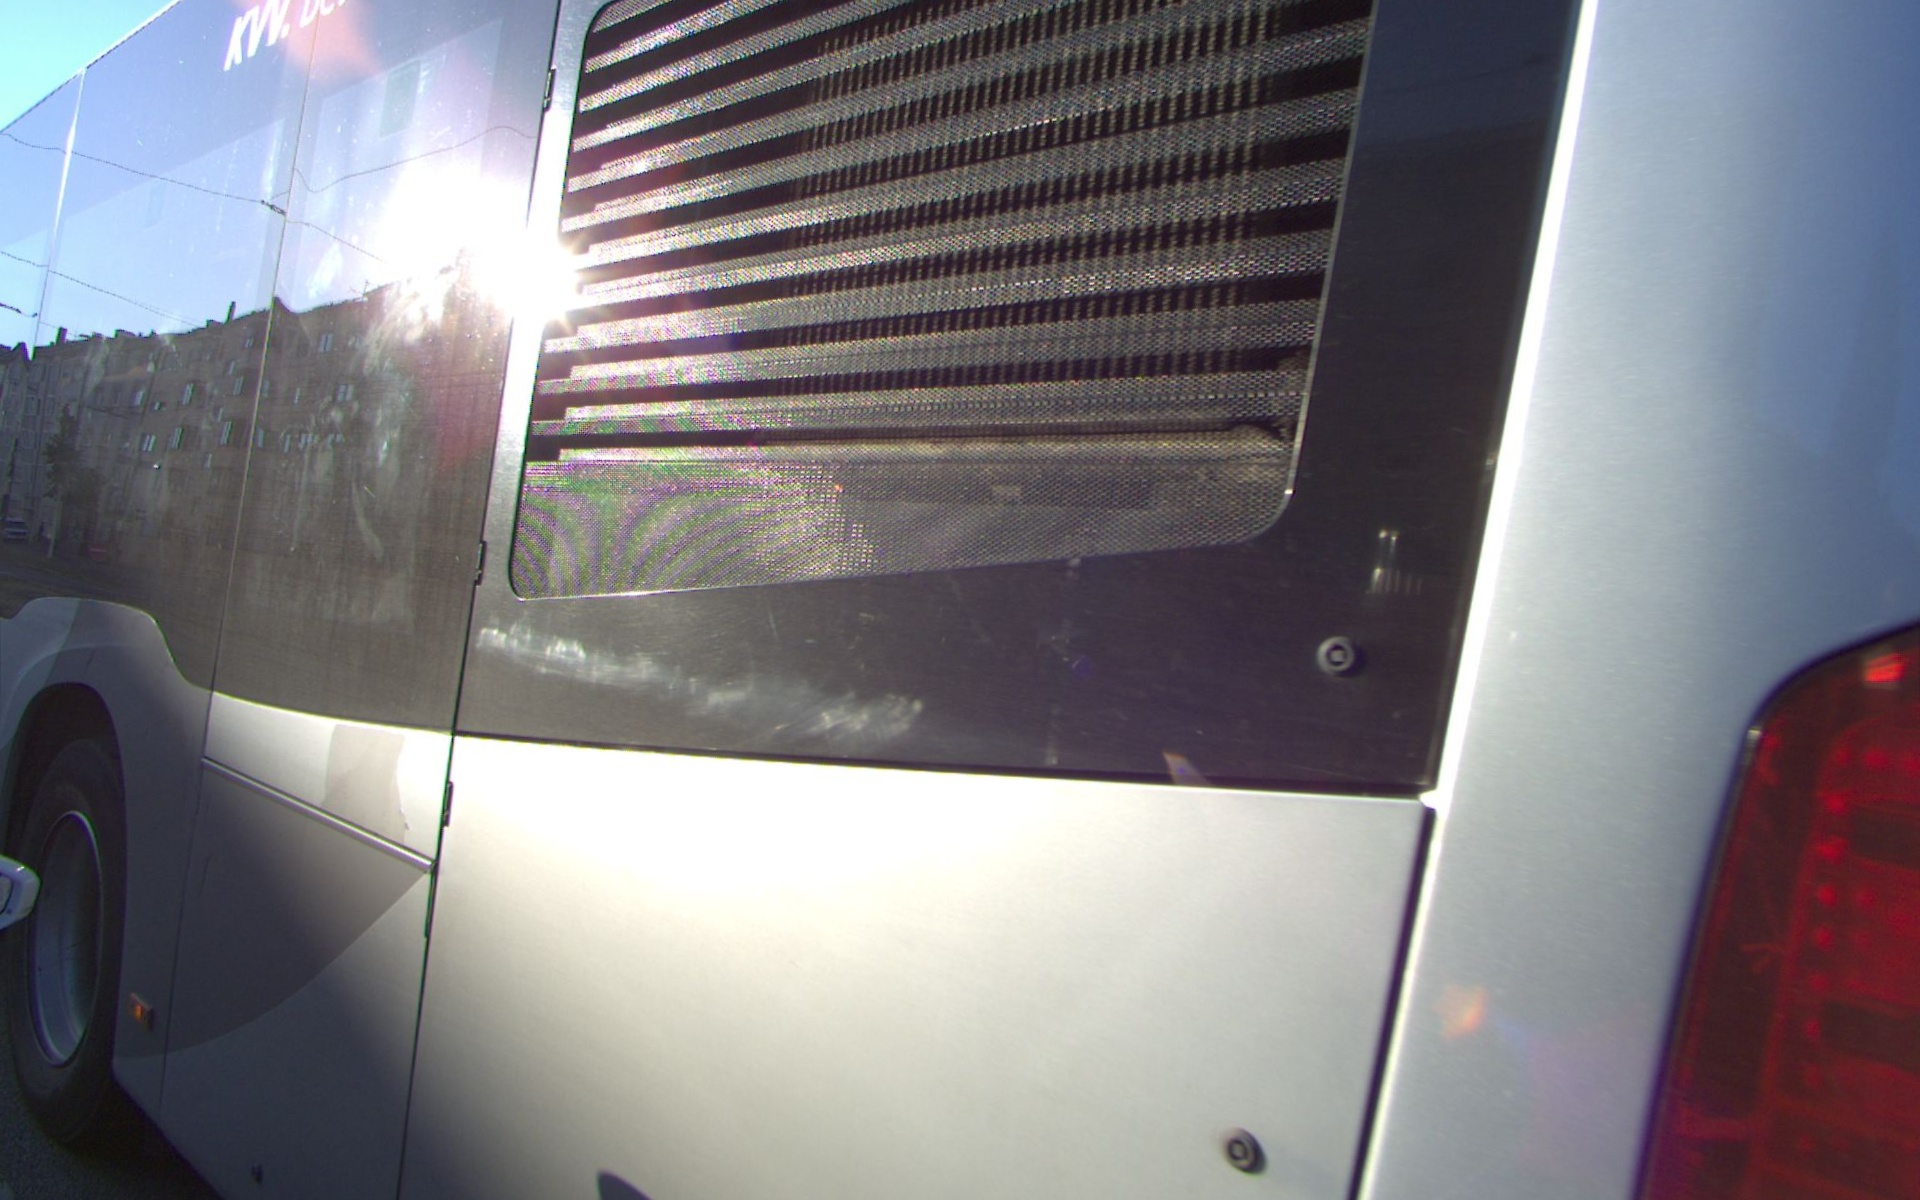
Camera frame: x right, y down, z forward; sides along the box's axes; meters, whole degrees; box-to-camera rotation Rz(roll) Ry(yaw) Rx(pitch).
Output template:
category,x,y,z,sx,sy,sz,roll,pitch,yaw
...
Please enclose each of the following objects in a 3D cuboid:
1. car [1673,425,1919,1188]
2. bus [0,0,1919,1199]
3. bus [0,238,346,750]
category,x,y,z,sx,sy,sz,roll,pitch,yaw
car,5.706,0.914,2.915,5.694,2.586,2.014,6,3,35
bus,-2.084,-0.207,3.978,8.715,3.091,2.741,6,-2,35
bus,-9.263,-0.953,9.108,8.988,3.091,2.741,6,-2,35
